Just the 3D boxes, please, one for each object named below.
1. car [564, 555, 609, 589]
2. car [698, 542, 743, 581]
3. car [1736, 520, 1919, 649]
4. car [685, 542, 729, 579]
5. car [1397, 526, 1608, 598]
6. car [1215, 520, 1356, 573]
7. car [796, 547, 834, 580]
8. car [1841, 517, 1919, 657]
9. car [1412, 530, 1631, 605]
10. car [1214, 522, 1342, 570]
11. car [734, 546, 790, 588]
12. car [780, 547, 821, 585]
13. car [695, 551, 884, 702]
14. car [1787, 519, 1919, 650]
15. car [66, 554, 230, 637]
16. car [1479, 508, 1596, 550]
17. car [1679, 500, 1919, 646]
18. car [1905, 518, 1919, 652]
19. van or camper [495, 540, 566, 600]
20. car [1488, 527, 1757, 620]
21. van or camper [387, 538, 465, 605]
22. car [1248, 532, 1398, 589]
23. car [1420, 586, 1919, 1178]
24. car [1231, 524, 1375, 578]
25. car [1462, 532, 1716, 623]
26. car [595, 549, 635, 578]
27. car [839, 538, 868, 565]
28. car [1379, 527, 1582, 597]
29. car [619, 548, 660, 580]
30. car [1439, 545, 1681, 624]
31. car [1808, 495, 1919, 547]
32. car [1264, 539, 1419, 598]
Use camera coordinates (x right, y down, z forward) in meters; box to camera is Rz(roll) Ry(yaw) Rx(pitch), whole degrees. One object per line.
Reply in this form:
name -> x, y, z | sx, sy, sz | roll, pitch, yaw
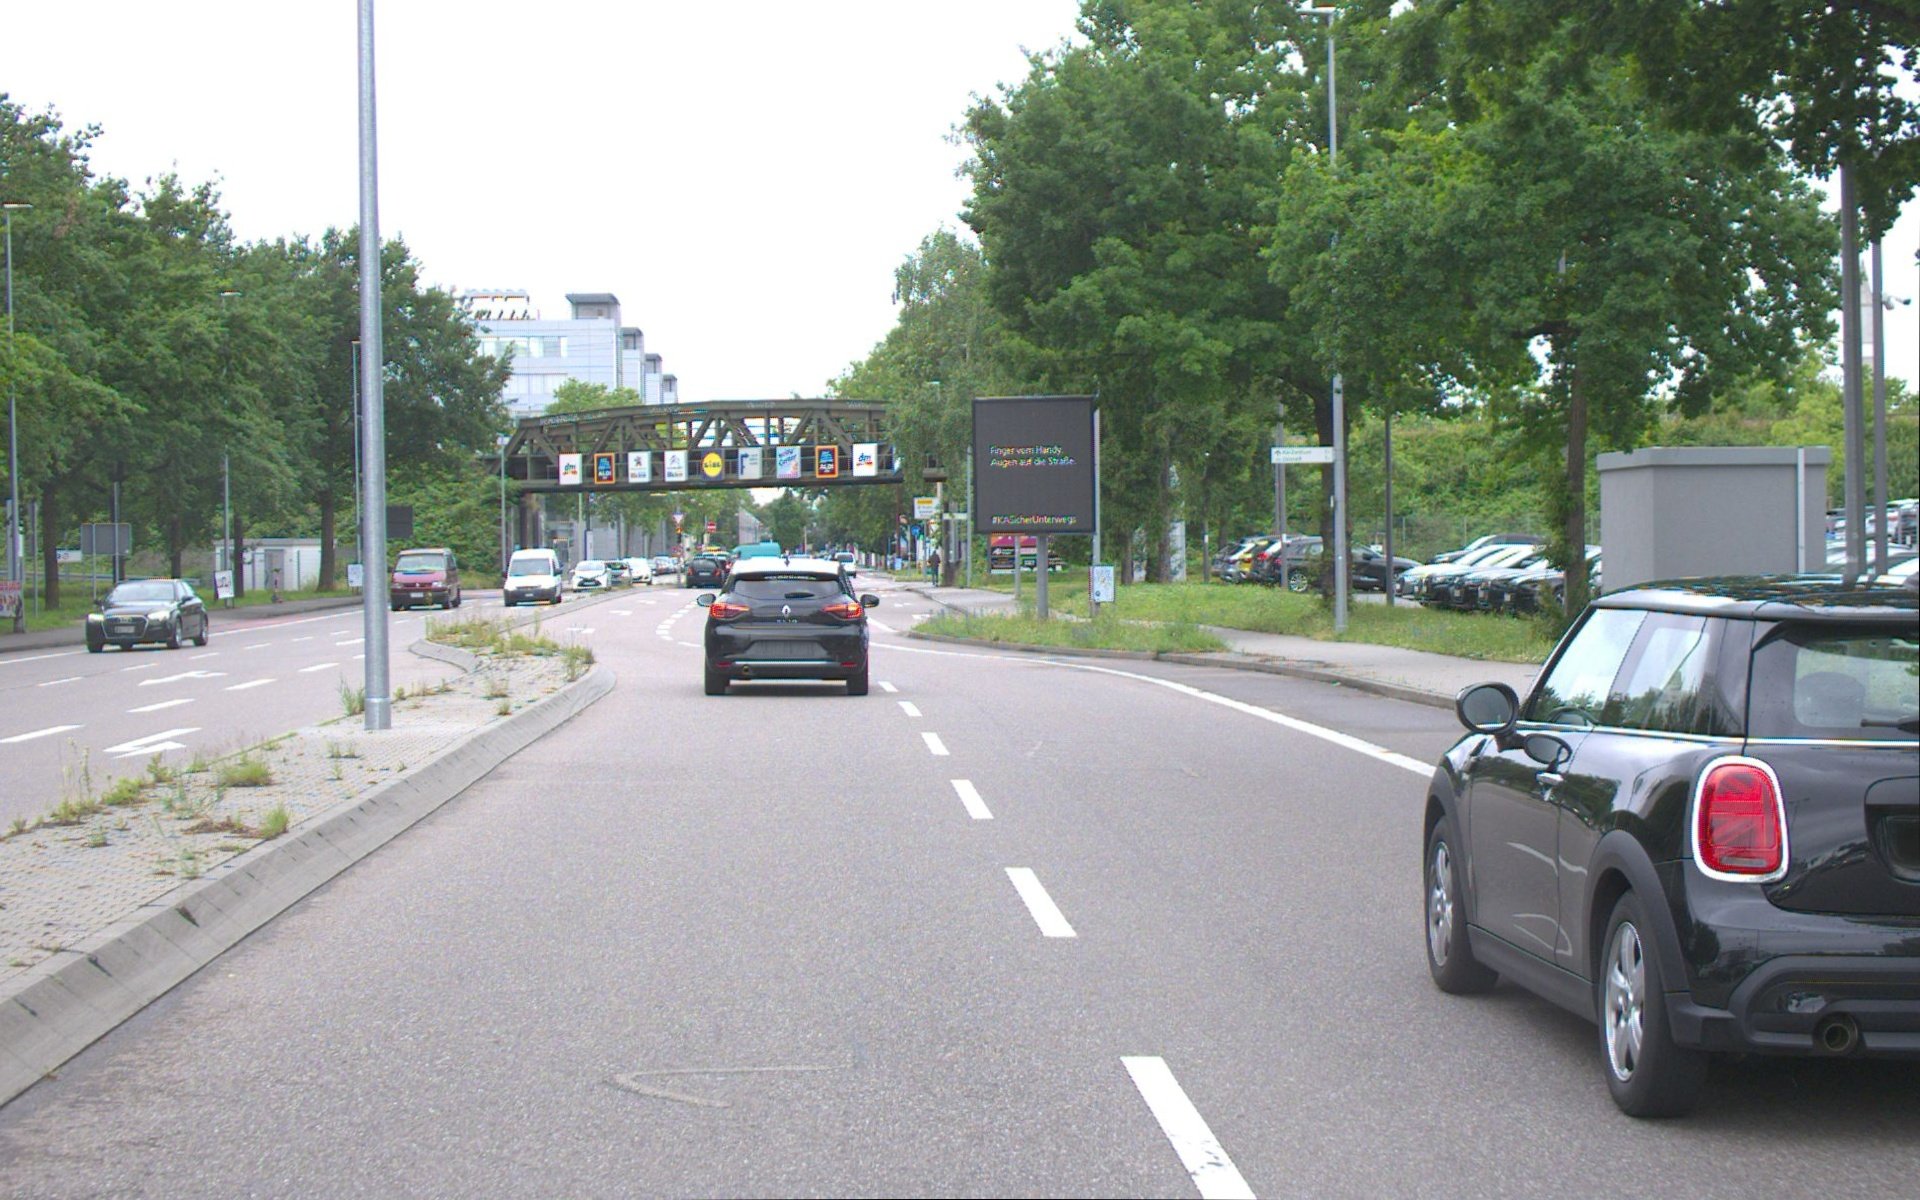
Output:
car -> -17.347, -1.319, 159.743 | 1.754, 1.441, 3.340 | 0, 3, 0
car -> -12.108, -1.943, 174.003 | 1.950, 1.809, 4.001 | 0, 3, 0
car -> 12.561, -0.116, 45.106 | 4.175, 1.441, 1.960 | 5, 3, -1
car -> -12.313, -1.932, 167.413 | 1.884, 1.656, 3.782 | 0, 3, 0
car -> 11.402, -0.803, 72.409 | 4.085, 1.430, 1.847 | 0, 3, -3
car -> 9.347, -1.544, 98.916 | 3.987, 1.430, 1.730 | 1, 3, 4
car -> -7.907, -2.017, 187.880 | 1.884, 1.656, 3.782 | 0, 3, 0
car -> 12.811, 0.008, 40.125 | 4.393, 1.515, 2.000 | 5, 3, -1
car -> 11.407, -0.676, 70.003 | 4.085, 1.430, 1.822 | 0, 3, -3
car -> 10.023, -1.703, 108.569 | 3.987, 1.430, 1.730 | 1, 3, 4
car -> -8.475, -1.433, 147.473 | 2.135, 1.656, 3.782 | 0, 3, 0
car -> -8.221, -1.771, 177.333 | 1.950, 1.809, 4.001 | 0, 3, 0
car -> -1.777, 0.242, 36.967 | 1.757, 1.429, 4.000 | -1, 2, 1
car -> 12.724, -0.084, 42.698 | 4.294, 1.499, 2.029 | 5, 1, -1
car -> -16.061, -0.108, 68.201 | 1.918, 1.497, 4.251 | -3, 1, 4
car -> 20.880, -2.569, 124.418 | 3.987, 1.430, 1.730 | 1, 3, 4
car -> 12.546, -0.313, 47.705 | 4.550, 1.696, 2.000 | 5, 3, -1
car -> 12.748, 0.050, 37.512 | 4.175, 1.464, 2.000 | 5, 3, -1
van or camper -> -13.738, -0.976, 110.156 | 1.755, 1.741, 4.407 | -4, 2, -2
car -> 12.014, -0.491, 62.522 | 4.445, 1.566, 2.000 | -1, 1, -2
van or camper -> -17.002, -0.934, 109.672 | 1.875, 1.979, 4.890 | -2, 2, -3
car -> 9.857, -1.082, 93.580 | 3.987, 1.430, 1.730 | 1, 3, 4
car -> 2.483, 0.676, 10.092 | 1.786, 1.411, 3.643 | -1, 0, 1
car -> 9.618, -1.390, 96.570 | 3.987, 1.430, 1.730 | 1, 3, 4
car -> 11.867, -0.434, 65.032 | 4.343, 1.498, 1.930 | 3, 1, -3
car -> -17.667, -1.877, 176.213 | 1.719, 1.366, 3.440 | 0, 3, 0
car -> -7.720, -3.542, 249.333 | 1.950, 1.809, 4.001 | 0, 3, 0
car -> 11.287, -0.833, 74.725 | 4.085, 1.430, 1.731 | 0, 3, -3
car -> -18.324, -2.061, 196.708 | 1.940, 1.670, 3.782 | 0, 3, 0
car -> 11.734, -0.310, 67.399 | 4.343, 1.483, 1.843 | 0, 1, -2
car -> 26.279, -2.241, 97.297 | 4.085, 1.430, 1.731 | 0, 3, -3
car -> 10.030, -0.838, 90.590 | 3.987, 1.430, 1.730 | 1, 3, 4
